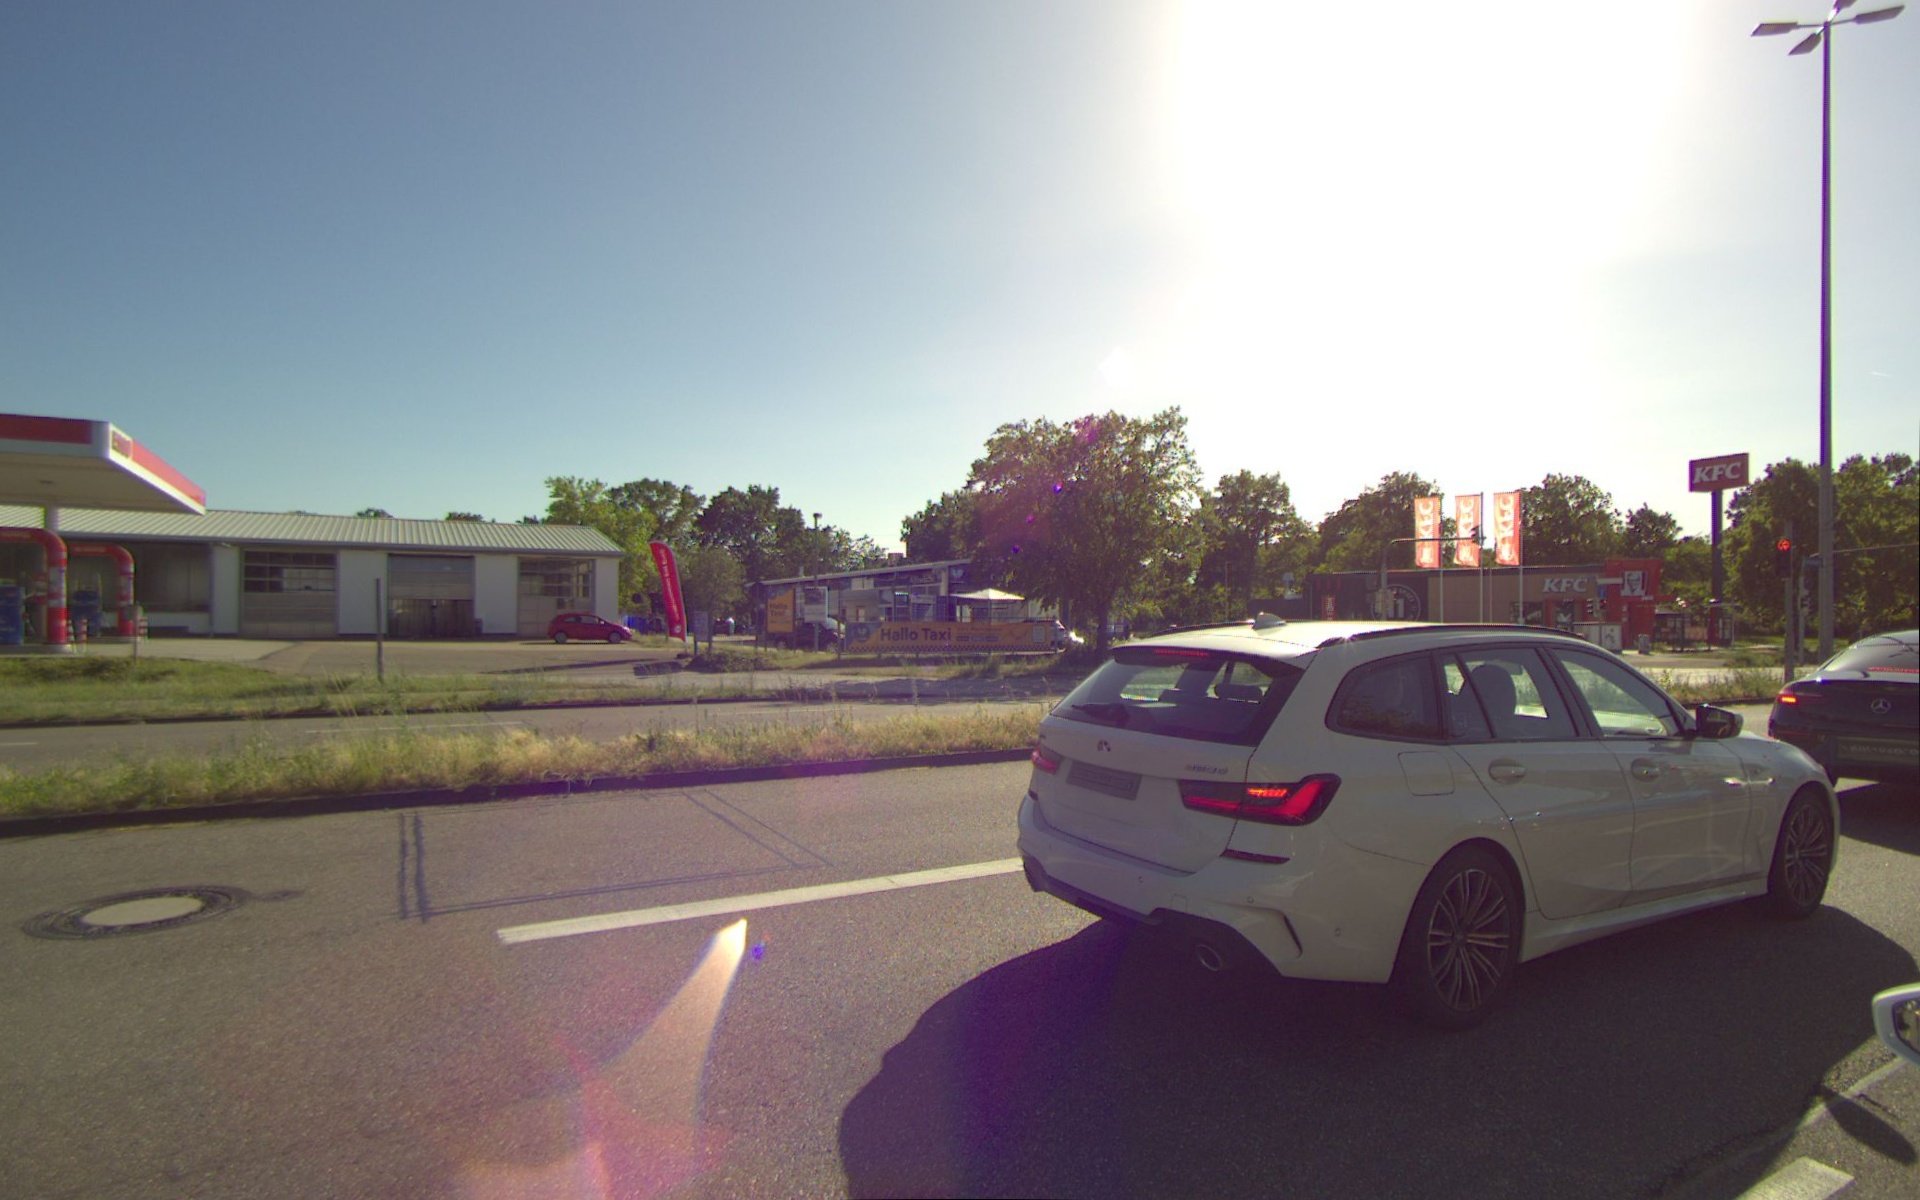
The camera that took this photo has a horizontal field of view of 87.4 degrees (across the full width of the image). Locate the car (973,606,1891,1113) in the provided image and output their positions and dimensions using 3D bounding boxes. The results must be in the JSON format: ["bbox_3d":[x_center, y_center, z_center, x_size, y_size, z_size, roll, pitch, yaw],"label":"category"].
[{"bbox_3d":[2.471,0.820,4.922,4.541,1.506,1.804,1,-1,-30],"label":"car"}]

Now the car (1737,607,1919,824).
[{"bbox_3d":[8.792,0.886,8.669,4.491,1.572,1.803,1,0,-31],"label":"car"}]

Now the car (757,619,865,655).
[{"bbox_3d":[-5.806,1.423,39.088,3.930,1.193,1.774,2,0,31],"label":"car"}]

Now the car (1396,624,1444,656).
[{"bbox_3d":[28.056,2.417,61.386,1.896,1.763,4.099,2,0,14],"label":"car"}]

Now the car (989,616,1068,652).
[{"bbox_3d":[3.164,1.573,47.072,1.974,1.461,3.974,2,0,-26],"label":"car"}]

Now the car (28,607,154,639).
[{"bbox_3d":[-36.348,0.975,42.131,3.688,1.203,1.667,2,0,-30],"label":"car"}]

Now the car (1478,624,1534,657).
[{"bbox_3d":[32.696,2.392,60.236,1.896,1.763,4.099,2,0,14],"label":"car"}]

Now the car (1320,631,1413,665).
[{"bbox_3d":[20.115,2.338,49.878,1.913,1.472,3.935,2,0,-30],"label":"car"}]

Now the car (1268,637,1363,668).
[{"bbox_3d":[17.022,2.487,48.227,1.850,1.268,4.062,2,0,-31],"label":"car"}]

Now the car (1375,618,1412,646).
[{"bbox_3d":[31.525,2.298,73.155,1.960,1.837,3.774,2,0,16],"label":"car"}]

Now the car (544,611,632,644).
[{"bbox_3d":[-18.272,1.371,49.338,3.949,1.491,1.521,2,0,-24],"label":"car"}]

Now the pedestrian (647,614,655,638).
[{"bbox_3d":[-17.874,1.505,58.138,0.300,1.337,0.310,0,-1,37],"label":"pedestrian"}]

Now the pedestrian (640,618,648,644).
[{"bbox_3d":[-18.322,1.788,58.265,0.315,1.531,0.301,1,-1,-39],"label":"pedestrian"}]

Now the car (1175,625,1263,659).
[{"bbox_3d":[13.956,2.242,54.445,1.914,1.600,4.599,2,0,-31],"label":"car"}]
